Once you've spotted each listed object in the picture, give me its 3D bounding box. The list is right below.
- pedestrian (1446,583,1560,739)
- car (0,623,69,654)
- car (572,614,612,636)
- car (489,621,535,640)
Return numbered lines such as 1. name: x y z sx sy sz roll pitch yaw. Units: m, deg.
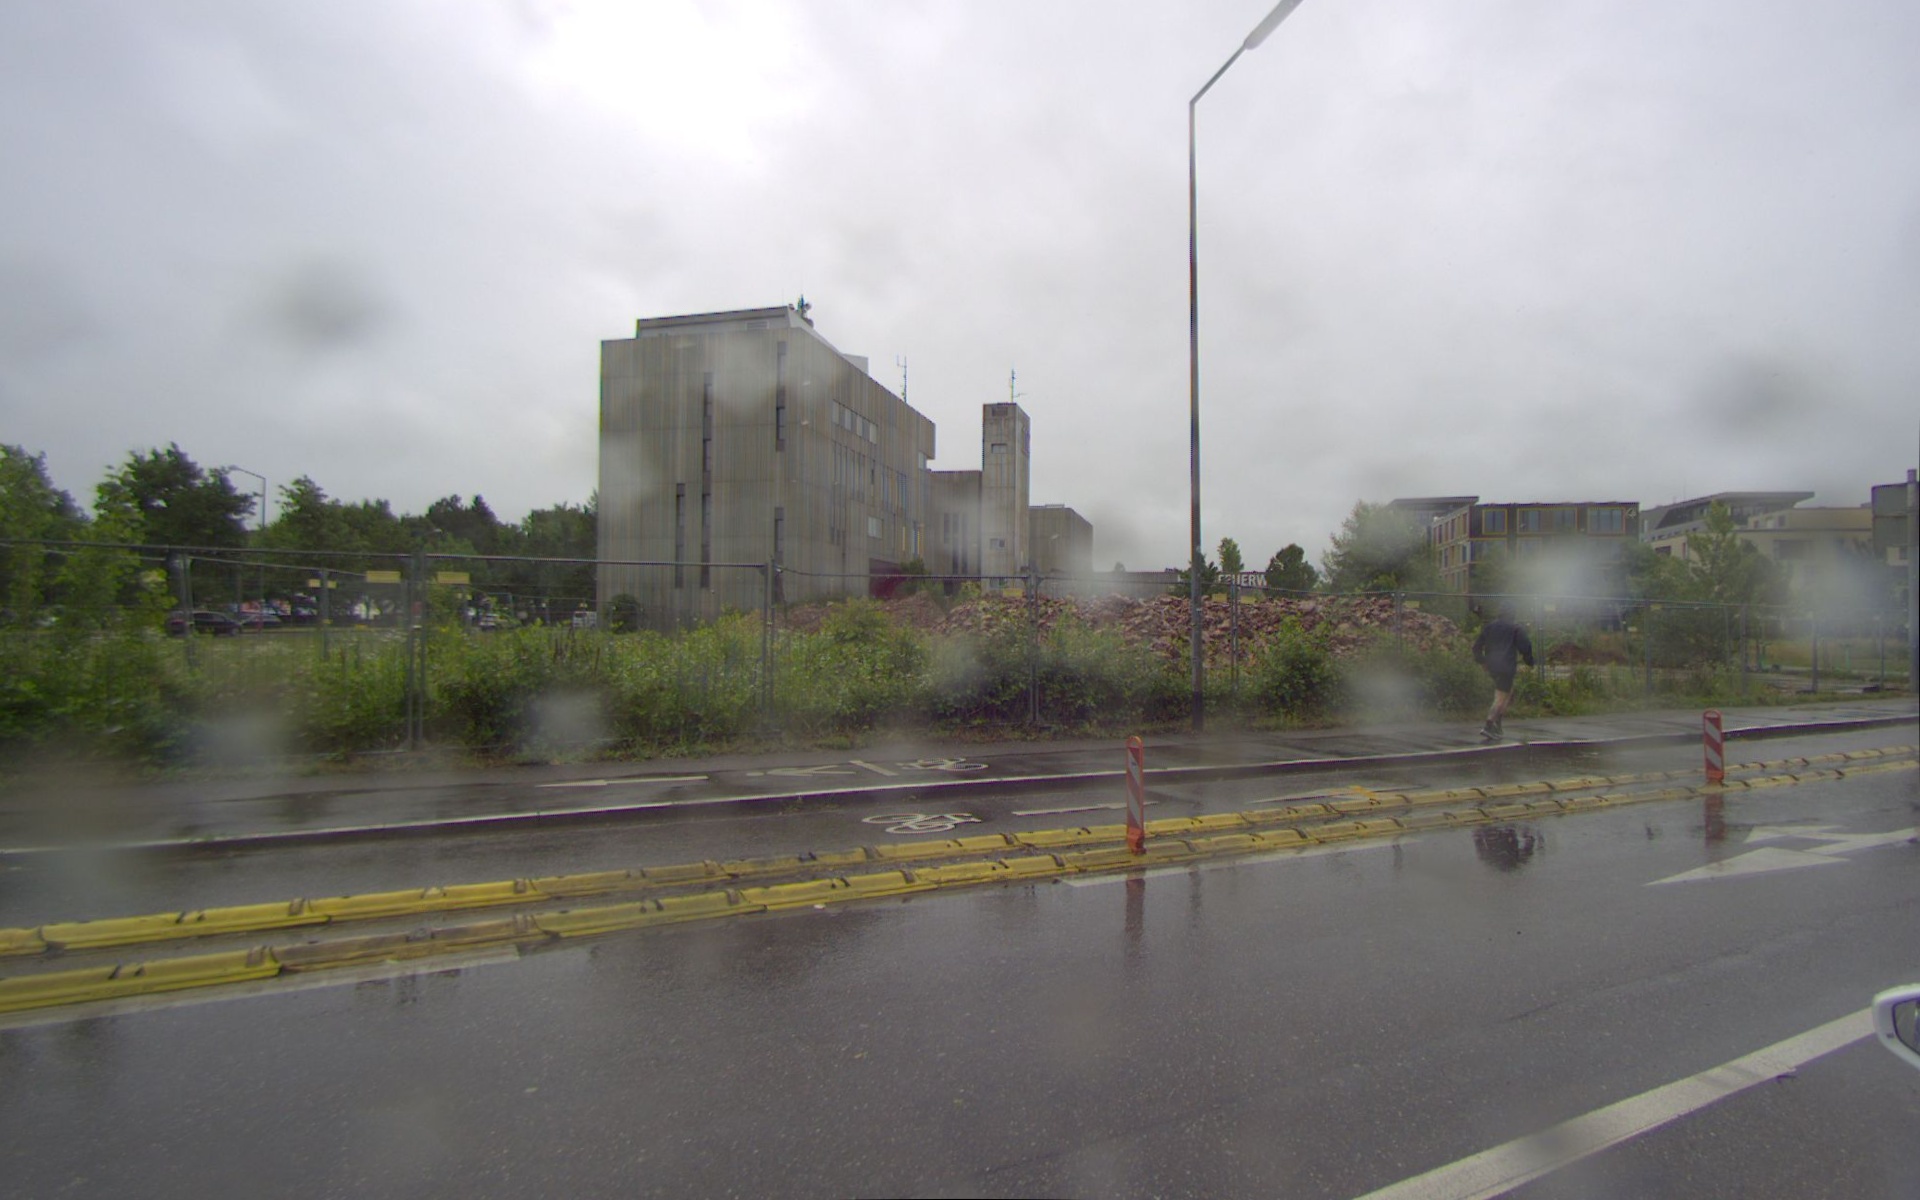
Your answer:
1. pedestrian: 7.422 0.832 13.738 1.116 2.040 0.844 4 -2 -25
2. car: -54.338 2.206 57.934 1.753 1.669 4.003 2 -2 16
3. car: -38.547 2.616 105.350 1.754 2.062 4.002 2 -2 19
4. car: -41.816 2.879 93.888 1.653 1.669 3.949 2 -2 18
